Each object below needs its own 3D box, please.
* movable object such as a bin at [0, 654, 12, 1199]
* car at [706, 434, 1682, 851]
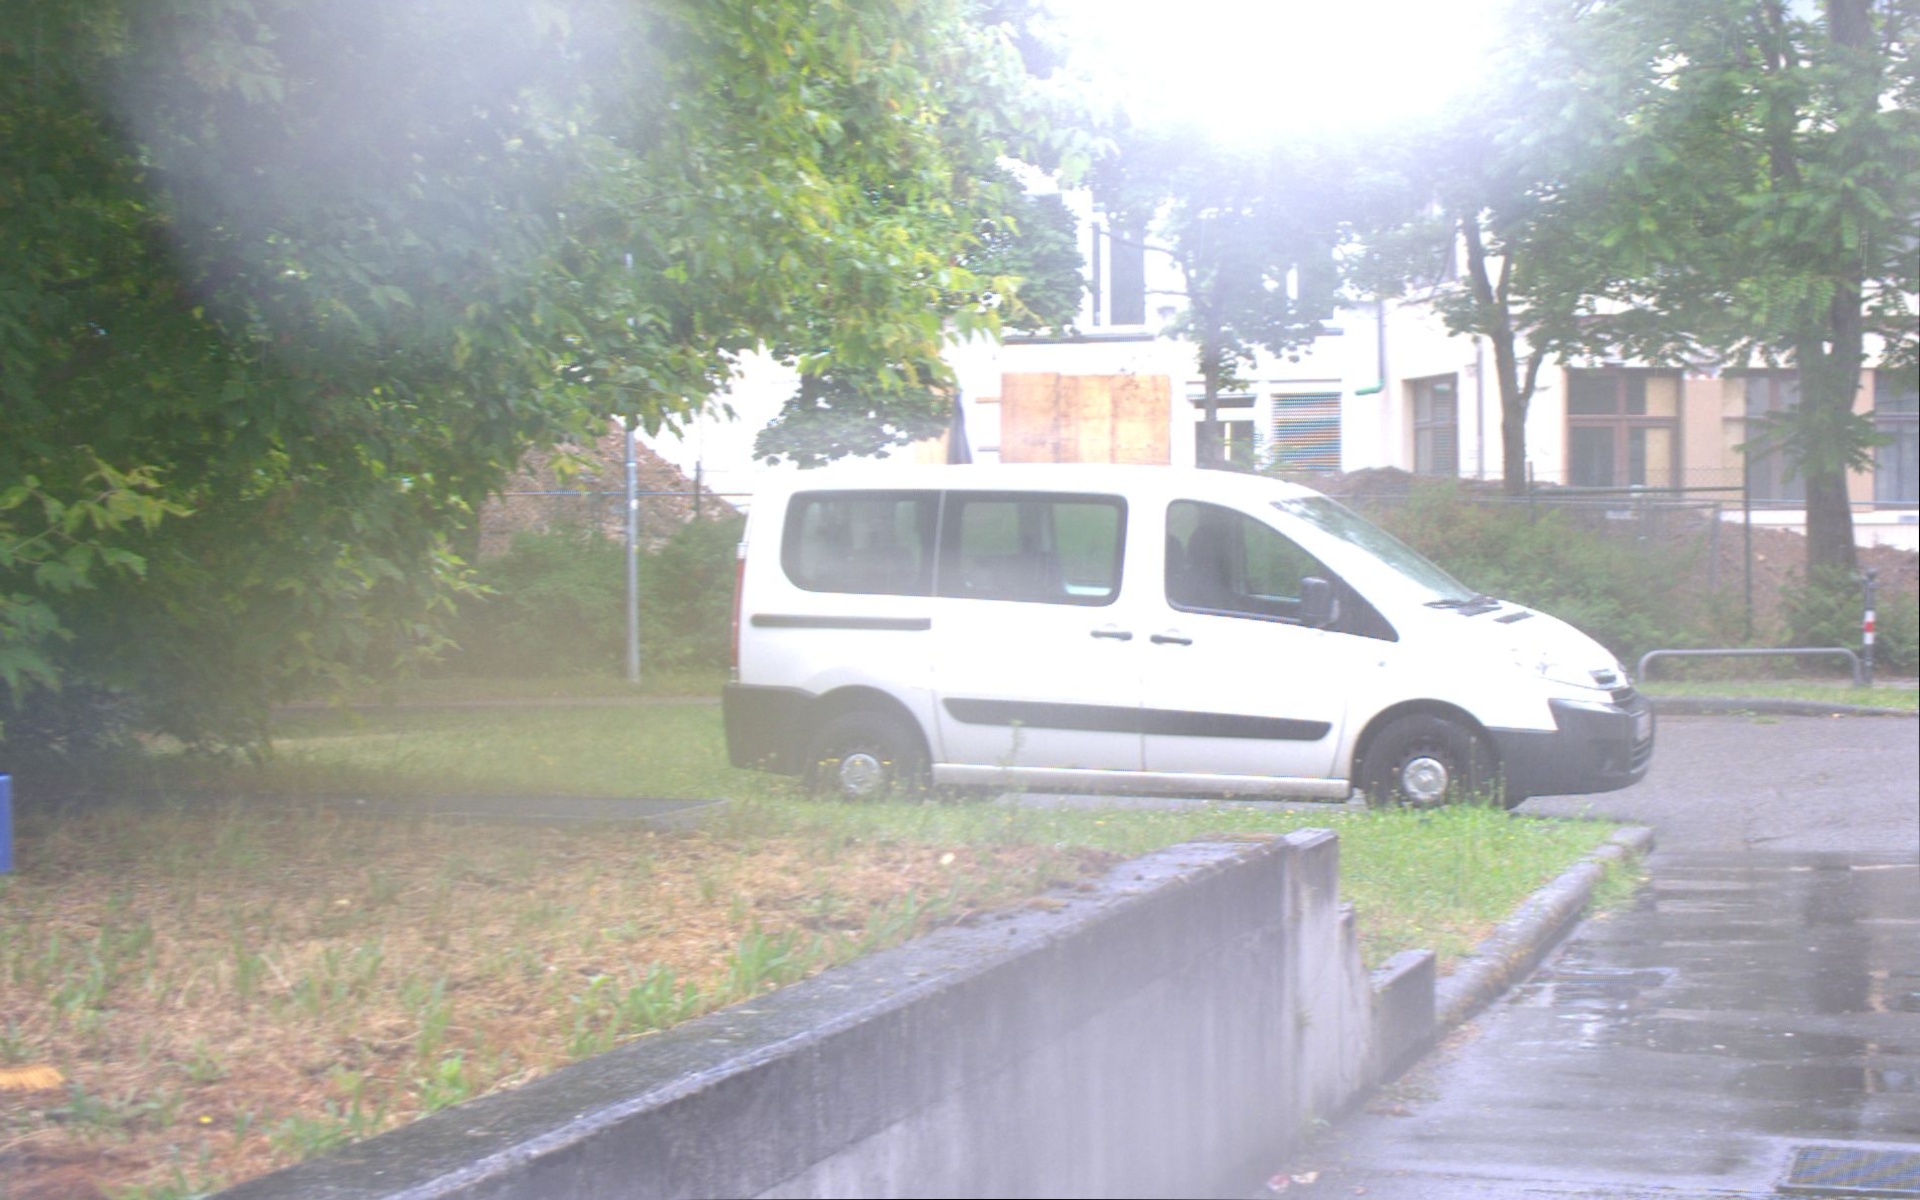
[{"bbox_3d":[-1.645,0.729,3.017,1.222,1.332,1.006,0,2,18],"label":"movable object such as a bin"},{"bbox_3d":[1.268,0.204,18.248,4.785,2.007,1.998,-1,1,19],"label":"car"}]
